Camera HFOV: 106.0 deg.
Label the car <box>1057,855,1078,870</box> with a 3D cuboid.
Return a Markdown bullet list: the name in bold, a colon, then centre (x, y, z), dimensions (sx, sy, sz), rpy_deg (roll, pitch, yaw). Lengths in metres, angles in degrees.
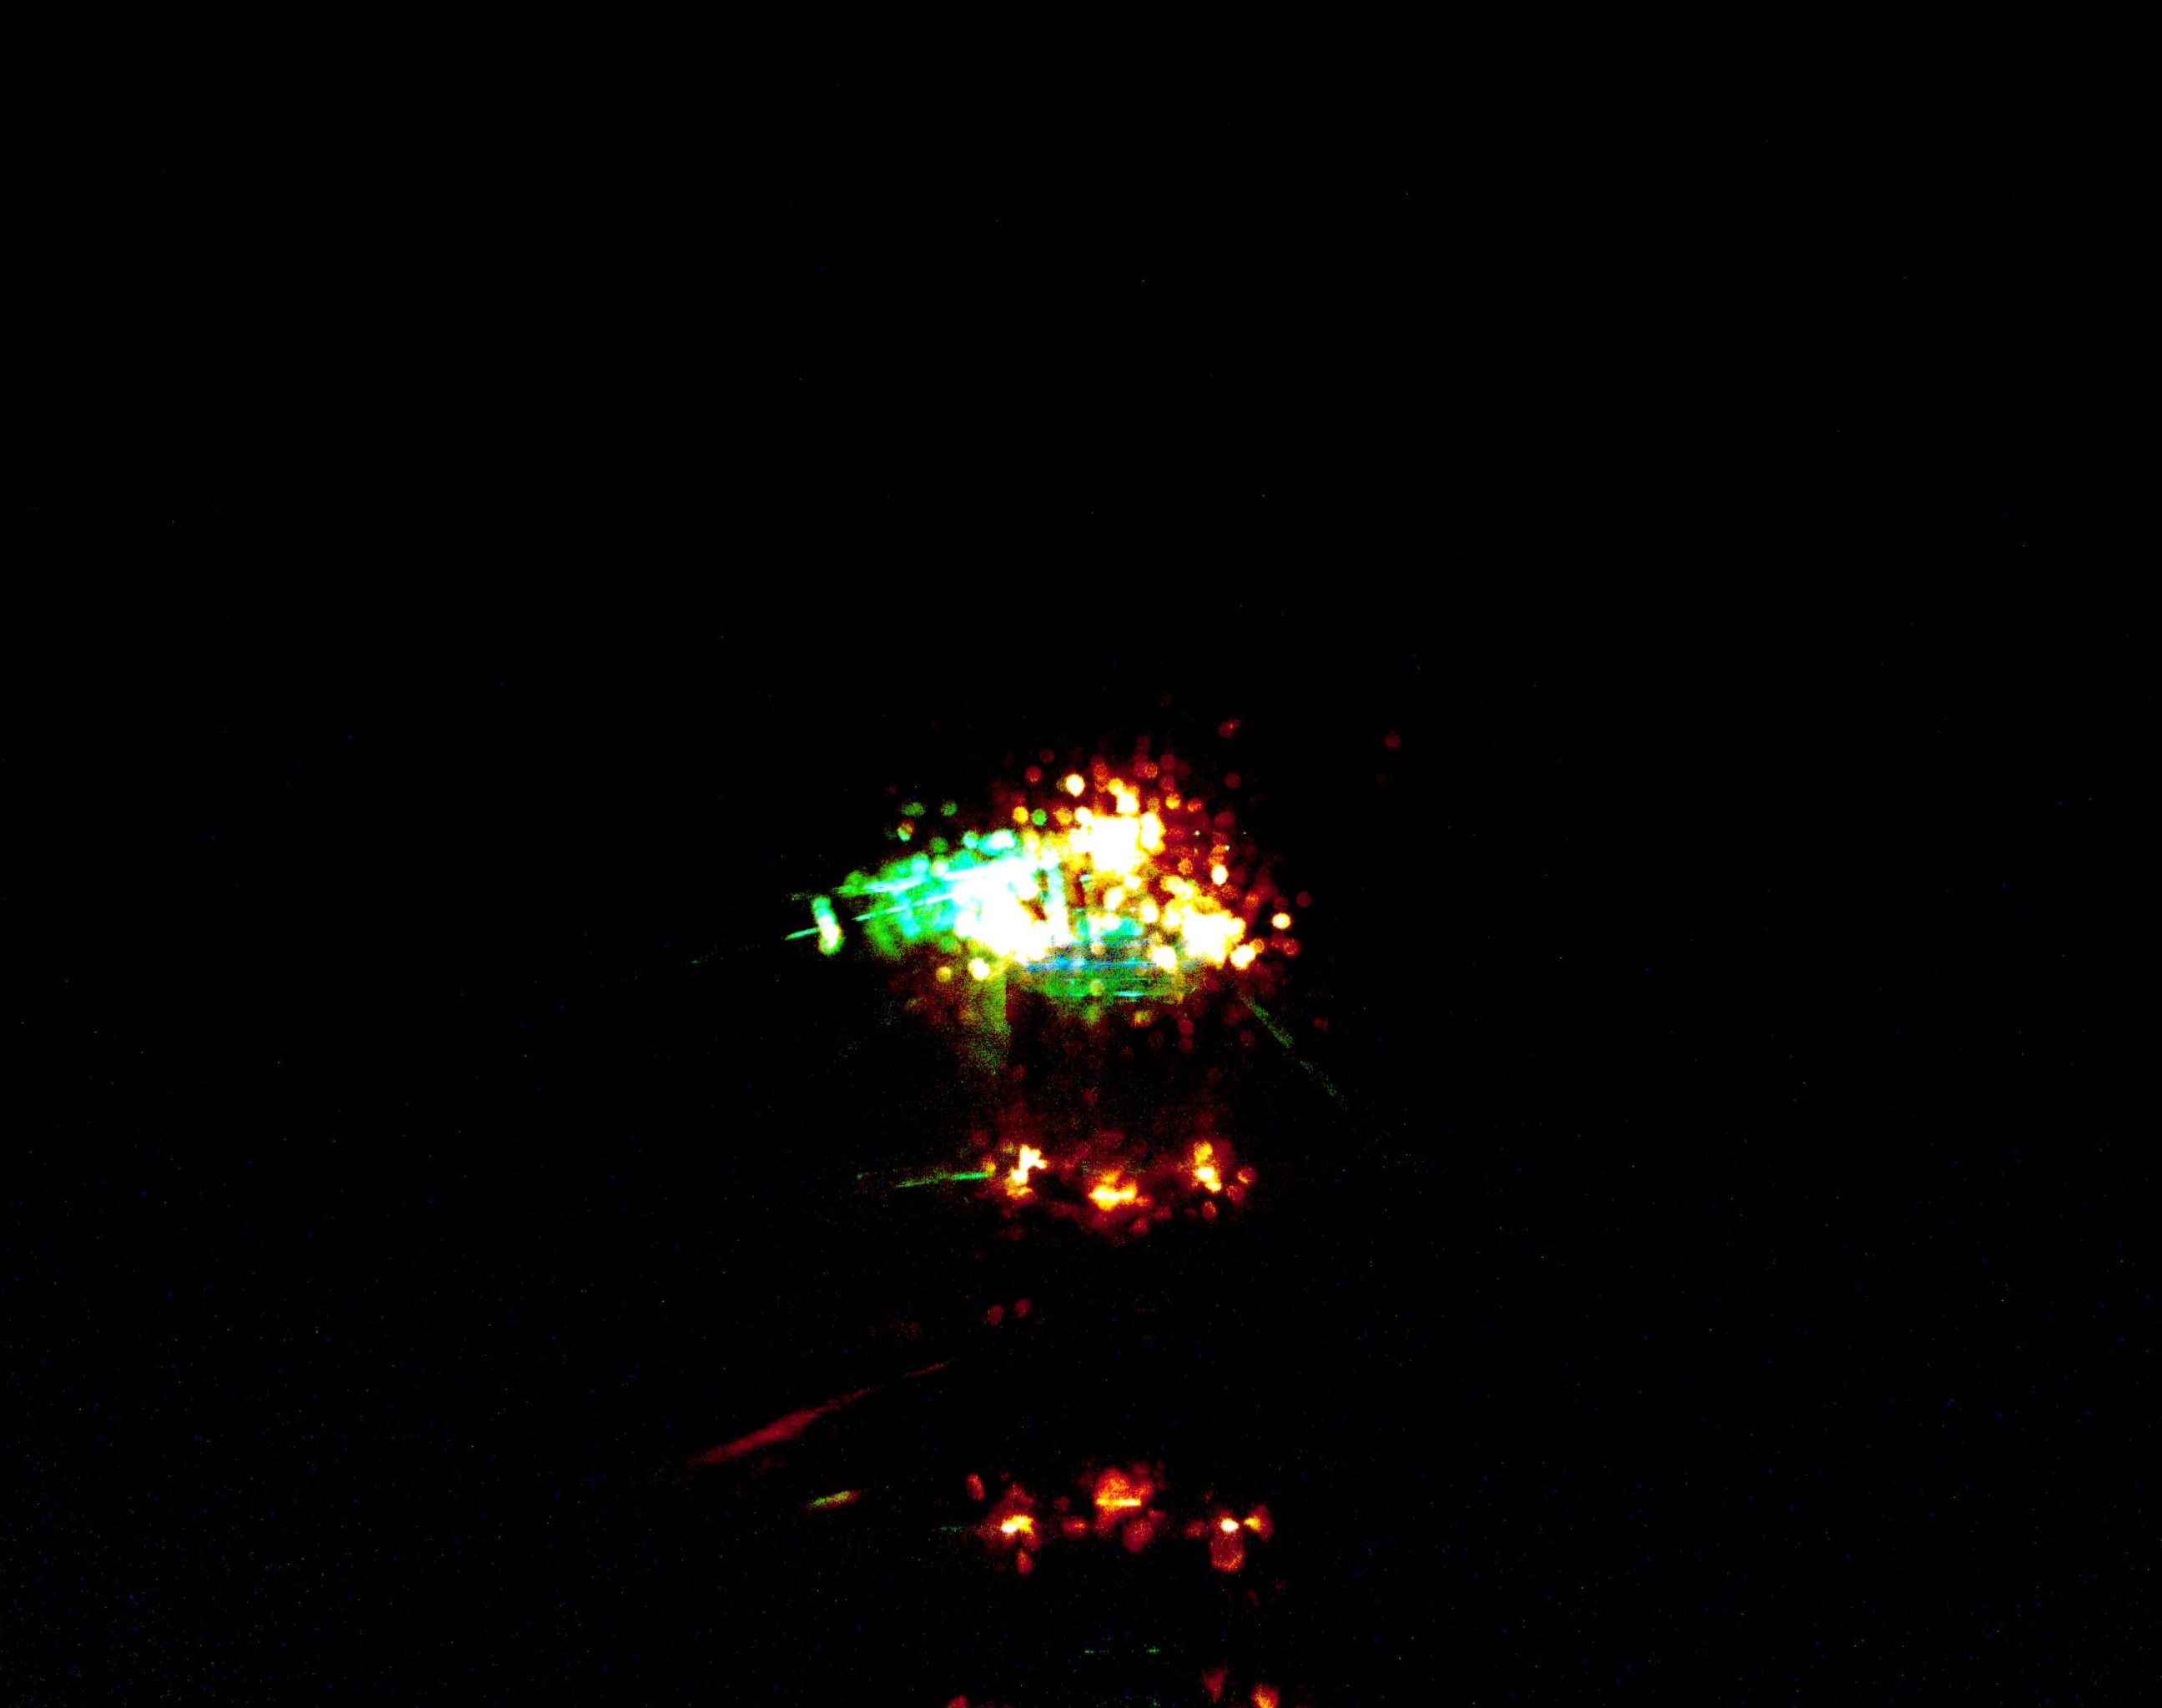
- **car**: centre (-1.318, 0.826, 80.746), dimensions (1.897, 1.470, 4.275), rpy_deg (1, 0, 1)

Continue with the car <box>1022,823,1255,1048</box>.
- **car**: centre (0.517, 0.627, 8.251), dimensions (1.768, 1.712, 4.002), rpy_deg (-1, 0, 2)

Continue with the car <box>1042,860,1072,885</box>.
- **car**: centre (-1.608, 1.220, 55.454), dimensions (1.831, 1.546, 4.258), rpy_deg (0, 0, 1)

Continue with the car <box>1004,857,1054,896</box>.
- **car**: centre (-2.322, 0.983, 37.439), dimensions (1.945, 1.656, 4.124), rpy_deg (-2, 0, 0)
